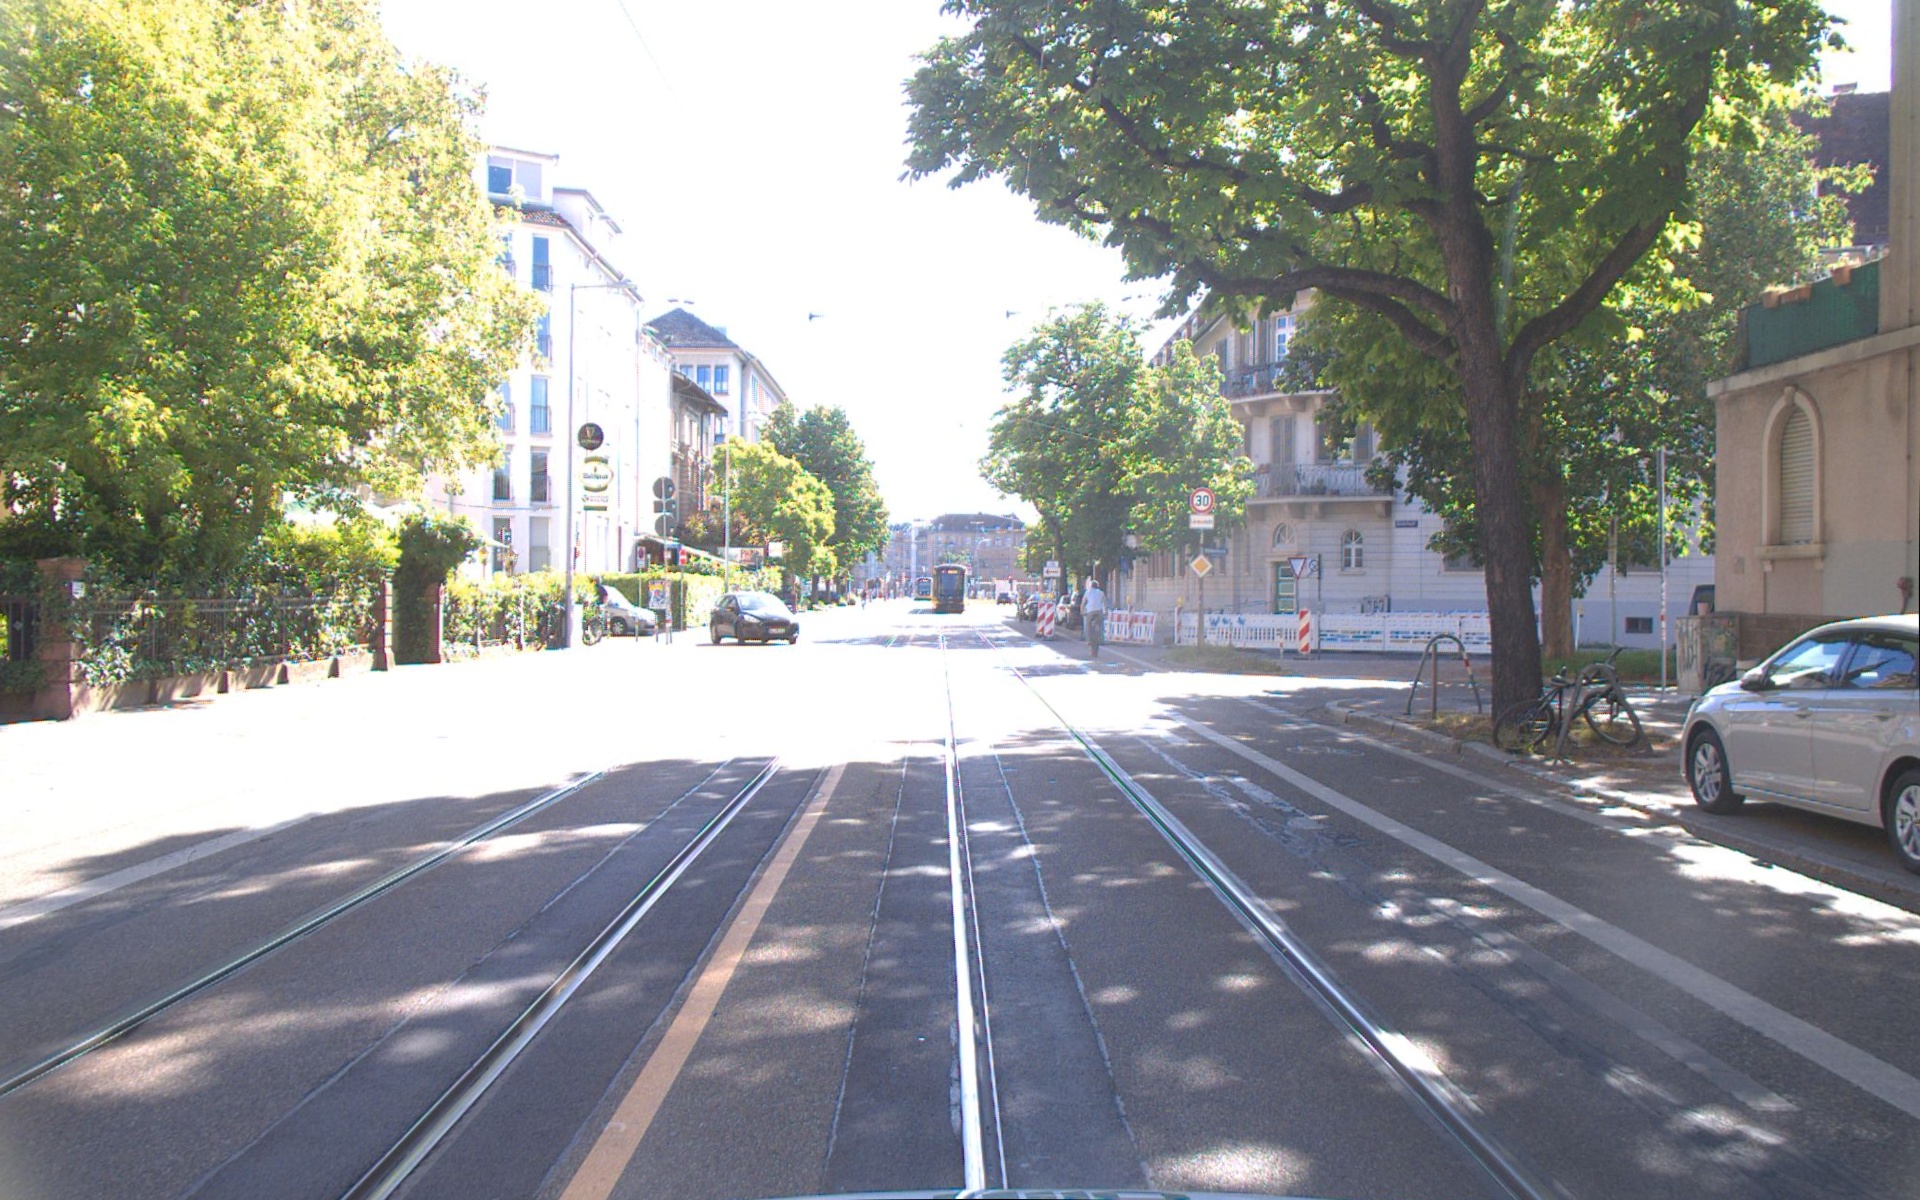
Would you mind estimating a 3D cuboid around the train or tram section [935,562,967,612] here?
[{"bbox_3d":[-0.692,-0.948,120.191,2.110,3.491,6.610,2,0,-1],"label":"train or tram section"}]

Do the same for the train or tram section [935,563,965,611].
[{"bbox_3d":[-0.824,-1.024,126.851,2.110,3.491,6.610,2,0,-1],"label":"train or tram section"}]

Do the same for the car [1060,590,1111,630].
[{"bbox_3d":[5.229,0.386,69.303,1.718,1.579,3.676,2,0,-1],"label":"car"}]

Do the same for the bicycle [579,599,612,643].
[{"bbox_3d":[-9.476,0.535,43.021,0.623,1.088,1.822,2,0,-18],"label":"bicycle"}]

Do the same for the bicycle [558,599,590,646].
[{"bbox_3d":[-9.592,0.545,41.079,0.623,1.088,1.823,2,0,-17],"label":"bicycle"}]

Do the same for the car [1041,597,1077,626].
[{"bbox_3d":[5.595,0.634,93.704,1.718,1.579,3.676,2,0,-1],"label":"car"}]

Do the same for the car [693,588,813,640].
[{"bbox_3d":[-5.993,0.414,47.684,1.744,1.445,3.526,2,-2,-41],"label":"car"}]

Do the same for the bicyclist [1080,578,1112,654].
[{"bbox_3d":[3.364,0.385,40.919,0.632,1.827,0.955,2,0,-1],"label":"bicyclist"}]

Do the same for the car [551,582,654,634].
[{"bbox_3d":[-12.364,0.270,57.344,3.348,1.668,1.669,2,0,-10],"label":"car"}]

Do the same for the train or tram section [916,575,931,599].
[{"bbox_3d":[-5.464,-1.905,249.240,2.110,3.491,6.610,2,0,-1],"label":"train or tram section"}]

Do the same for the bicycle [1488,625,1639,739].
[{"bbox_3d":[5.927,0.799,16.300,1.243,1.042,0.704,2,-1,7],"label":"bicycle"}]

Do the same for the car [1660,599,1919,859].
[{"bbox_3d":[6.298,0.739,10.768,1.713,1.445,3.999,0,0,-1],"label":"car"}]

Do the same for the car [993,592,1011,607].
[{"bbox_3d":[4.863,-0.063,191.932,1.834,1.691,3.514,2,0,-1],"label":"car"}]

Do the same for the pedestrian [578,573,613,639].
[{"bbox_3d":[-9.769,0.162,44.343,0.754,1.742,0.669,2,0,-1],"label":"pedestrian"}]

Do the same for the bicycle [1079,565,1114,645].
[{"bbox_3d":[3.367,0.116,40.911,0.649,1.891,2.260,2,0,0],"label":"bicycle"}]

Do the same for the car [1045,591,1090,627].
[{"bbox_3d":[5.000,0.413,77.221,1.718,1.579,3.676,2,0,-1],"label":"car"}]
